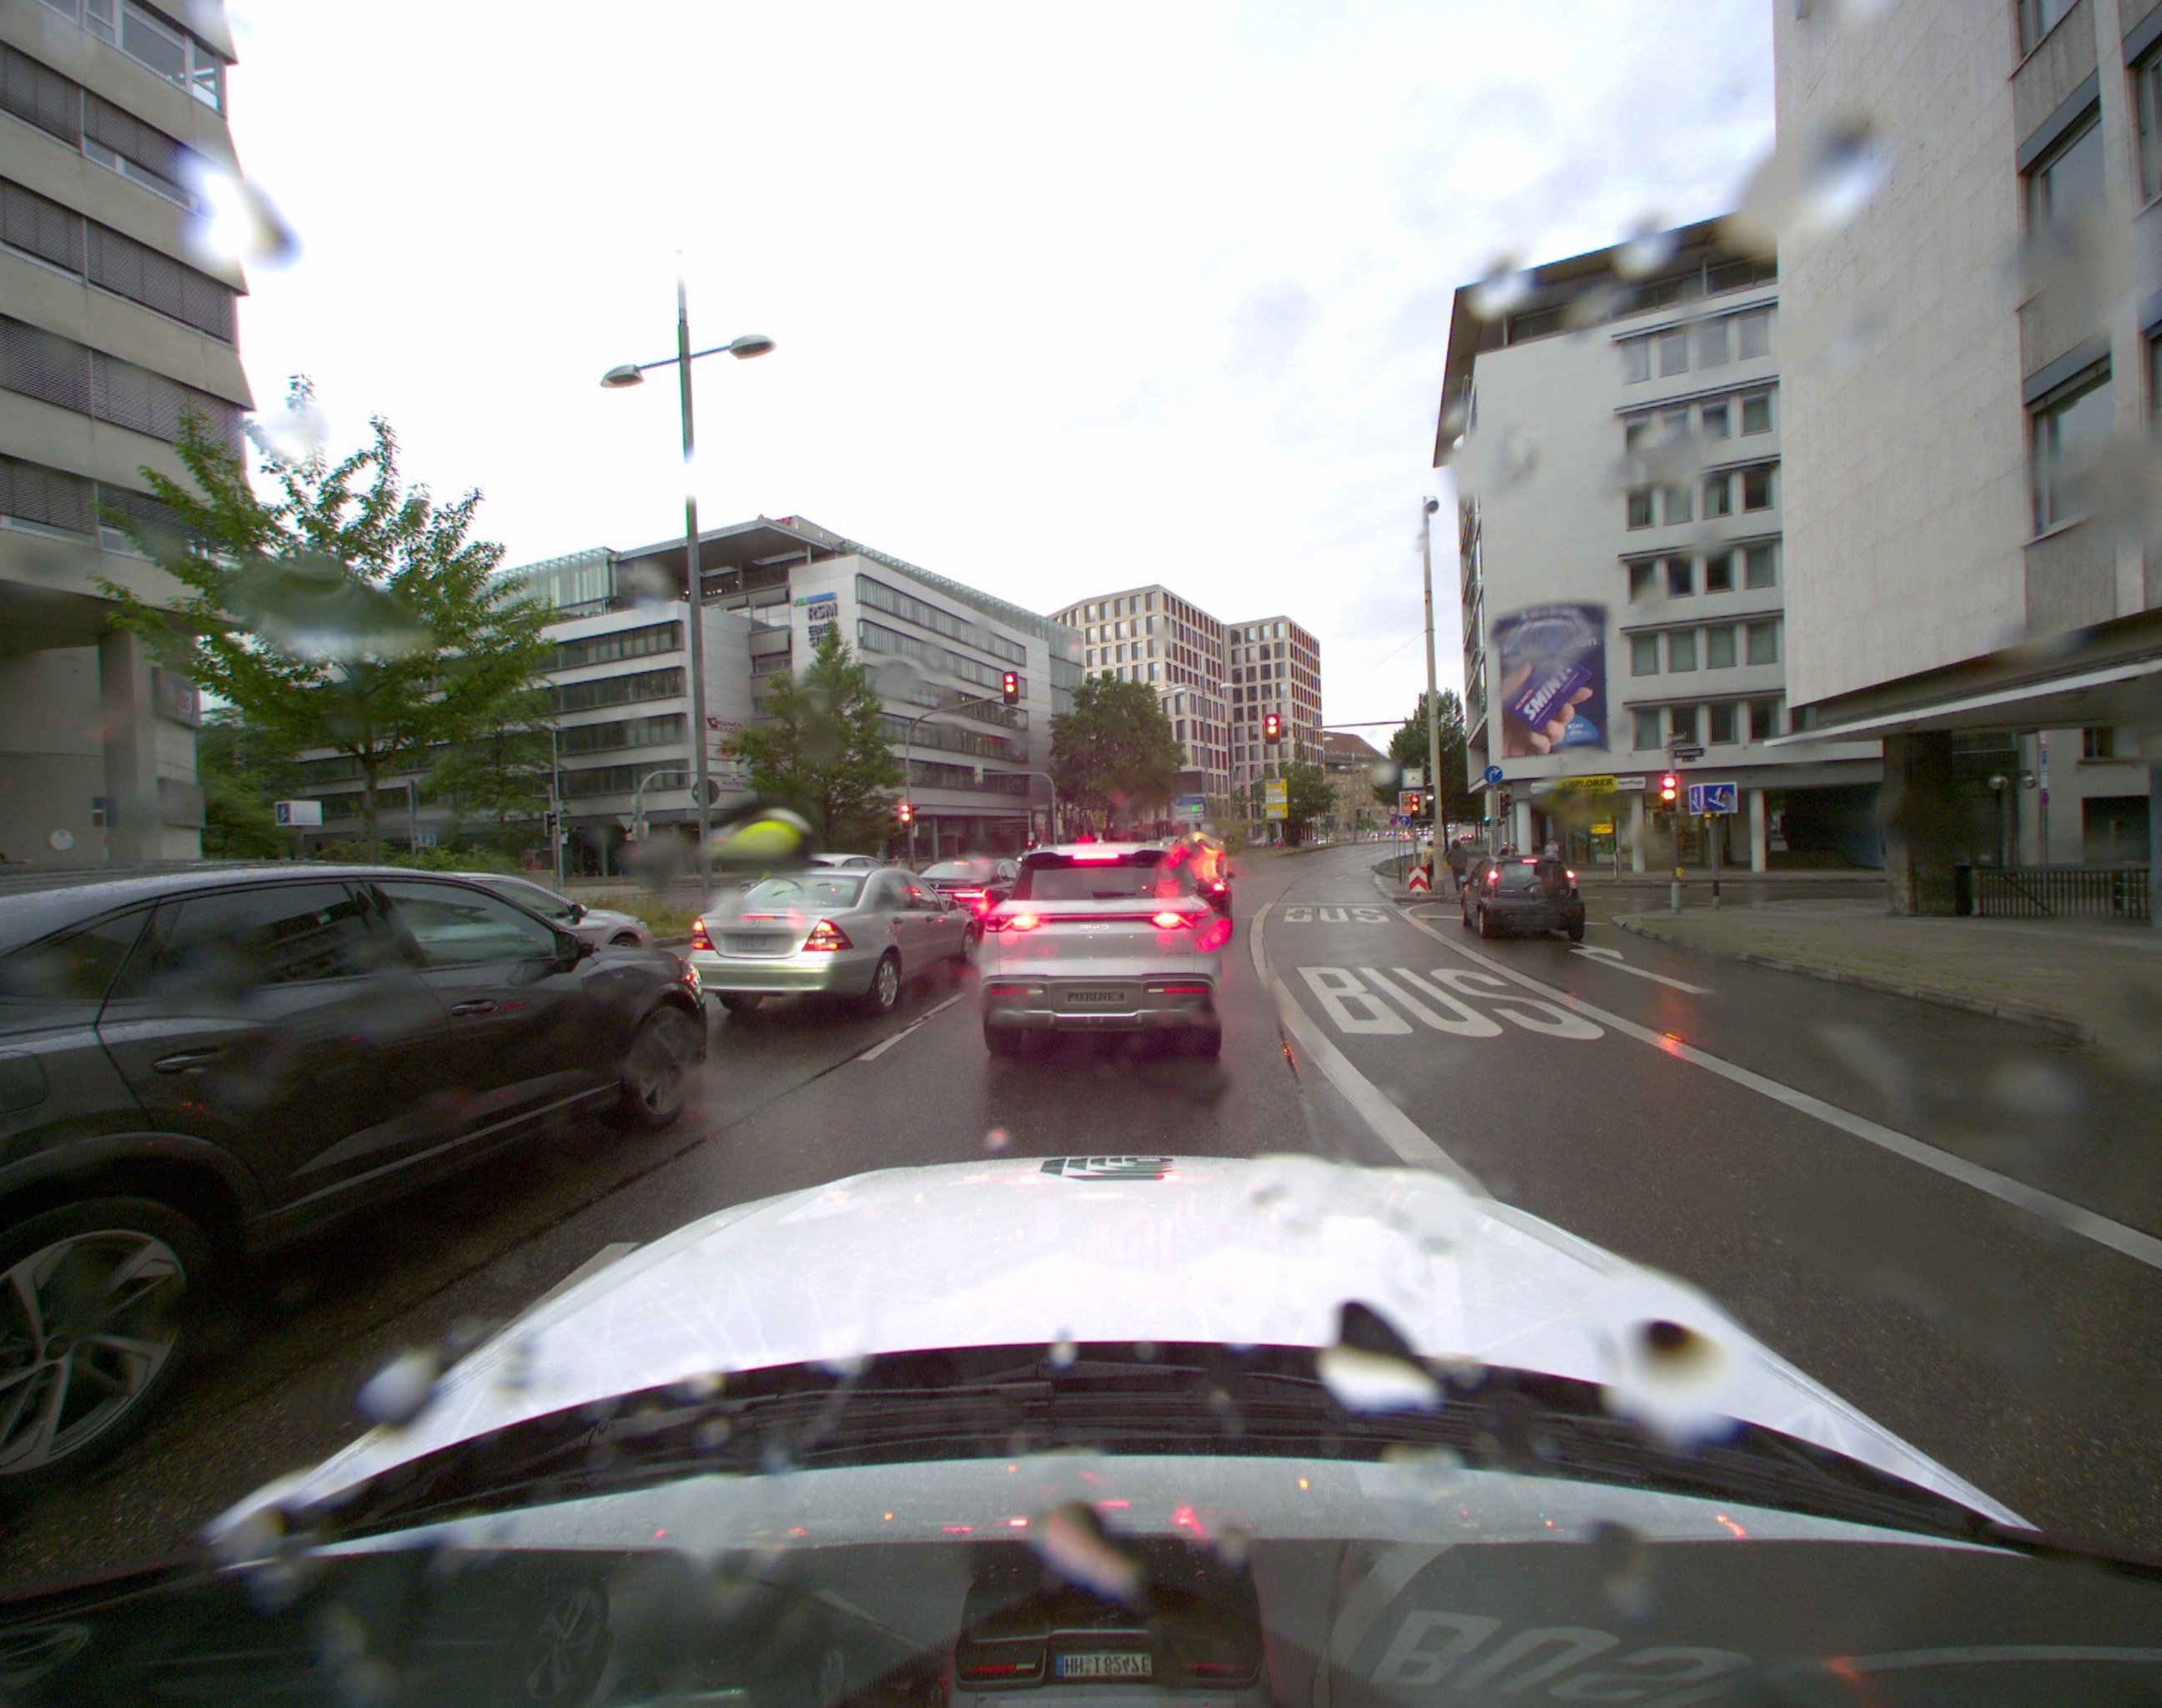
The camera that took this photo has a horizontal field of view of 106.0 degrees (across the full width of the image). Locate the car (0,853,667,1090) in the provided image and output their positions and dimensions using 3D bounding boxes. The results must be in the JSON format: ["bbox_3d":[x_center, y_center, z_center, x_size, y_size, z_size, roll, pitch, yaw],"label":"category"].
[{"bbox_3d":[-6.268,0.780,7.801,1.856,1.533,4.783,-1,0,4],"label":"car"}]

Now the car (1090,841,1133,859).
[{"bbox_3d":[2.881,-0.367,75.209,1.796,1.510,5.228,-1,1,28],"label":"car"}]

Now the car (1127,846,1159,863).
[{"bbox_3d":[6.245,-0.009,81.370,1.616,1.559,4.620,-1,1,25],"label":"car"}]

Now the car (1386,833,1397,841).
[{"bbox_3d":[77.938,-4.177,204.208,1.975,2.013,4.025,-1,0,29],"label":"car"}]

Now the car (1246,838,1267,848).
[{"bbox_3d":[26.404,-1.671,122.391,1.974,1.488,4.025,-1,1,29],"label":"car"}]

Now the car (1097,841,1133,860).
[{"bbox_3d":[2.894,-0.316,68.871,1.629,1.581,4.109,-1,0,24],"label":"car"}]

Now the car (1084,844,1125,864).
[{"bbox_3d":[1.742,0.038,58.980,1.675,1.385,3.888,-1,-1,21],"label":"car"}]

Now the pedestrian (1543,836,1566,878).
[{"bbox_3d":[20.420,0.110,35.093,0.778,1.794,0.662,-1,0,-45],"label":"pedestrian"}]

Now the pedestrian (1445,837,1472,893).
[{"bbox_3d":[12.281,0.354,26.520,0.742,1.798,0.821,-1,1,22],"label":"pedestrian"}]

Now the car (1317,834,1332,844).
[{"bbox_3d":[37.131,-2.279,124.010,1.616,1.437,3.931,-1,1,25],"label":"car"}]

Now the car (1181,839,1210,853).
[{"bbox_3d":[13.259,-0.952,94.205,1.974,1.488,4.025,-1,1,29],"label":"car"}]

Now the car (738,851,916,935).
[{"bbox_3d":[-4.964,0.706,16.517,1.696,1.486,4.013,-1,-1,11],"label":"car"}]

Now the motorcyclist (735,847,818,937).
[{"bbox_3d":[-4.890,0.593,13.144,0.765,1.380,1.122,-1,-1,11],"label":"motorcyclist"}]

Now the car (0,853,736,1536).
[{"bbox_3d":[-3.200,0.773,3.285,1.642,1.521,4.274,-1,0,2],"label":"car"}]

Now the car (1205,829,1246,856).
[{"bbox_3d":[11.565,-0.878,64.919,1.975,2.014,4.876,-1,-1,25],"label":"car"}]

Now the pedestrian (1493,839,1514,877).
[{"bbox_3d":[18.959,0.181,36.540,0.657,1.655,0.662,-1,0,-45],"label":"pedestrian"}]

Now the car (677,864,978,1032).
[{"bbox_3d":[-2.466,0.828,9.062,1.562,1.407,4.118,-1,-1,8],"label":"car"}]

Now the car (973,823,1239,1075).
[{"bbox_3d":[0.298,0.653,7.472,1.768,1.679,4.004,-1,-1,4],"label":"car"}]

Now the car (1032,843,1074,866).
[{"bbox_3d":[-2.003,0.013,58.765,1.630,1.536,4.172,-1,0,19],"label":"car"}]

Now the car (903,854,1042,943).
[{"bbox_3d":[-1.925,0.770,15.693,1.561,1.486,4.010,-1,-1,9],"label":"car"}]

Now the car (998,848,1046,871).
[{"bbox_3d":[-4.394,0.379,61.167,1.976,1.610,4.022,1,1,22],"label":"car"}]

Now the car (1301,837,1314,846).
[{"bbox_3d":[45.228,-2.508,162.691,1.590,1.741,3.467,-1,-1,34],"label":"car"}]

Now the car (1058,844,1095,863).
[{"bbox_3d":[-0.383,-0.052,69.291,1.623,1.571,3.740,-1,-1,27],"label":"car"}]

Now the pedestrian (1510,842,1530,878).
[{"bbox_3d":[19.443,0.255,36.049,0.657,1.543,0.618,-1,0,-45],"label":"pedestrian"}]

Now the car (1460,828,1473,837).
[{"bbox_3d":[70.547,-3.920,148.959,1.677,1.486,4.025,-1,-1,32],"label":"car"}]

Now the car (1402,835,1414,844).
[{"bbox_3d":[60.554,-2.729,150.858,1.871,1.643,4.023,-1,0,24],"label":"car"}]

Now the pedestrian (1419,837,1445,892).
[{"bbox_3d":[11.747,0.357,27.272,0.742,1.798,0.821,-1,1,22],"label":"pedestrian"}]

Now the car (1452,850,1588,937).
[{"bbox_3d":[8.163,0.667,15.470,1.558,1.429,4.018,-1,-1,18],"label":"car"}]

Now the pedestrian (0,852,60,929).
[{"bbox_3d":[-23.544,0.800,18.149,0.672,1.683,0.766,-1,0,15],"label":"pedestrian"}]

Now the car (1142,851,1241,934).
[{"bbox_3d":[2.374,0.710,16.699,1.682,1.486,4.013,-1,-1,12],"label":"car"}]

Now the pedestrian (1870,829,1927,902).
[{"bbox_3d":[19.768,0.274,19.700,0.764,1.731,0.599,-1,0,16],"label":"pedestrian"}]

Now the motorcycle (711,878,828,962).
[{"bbox_3d":[-4.926,1.001,13.041,0.795,1.185,2.034,-1,-1,11],"label":"motorcycle"}]
